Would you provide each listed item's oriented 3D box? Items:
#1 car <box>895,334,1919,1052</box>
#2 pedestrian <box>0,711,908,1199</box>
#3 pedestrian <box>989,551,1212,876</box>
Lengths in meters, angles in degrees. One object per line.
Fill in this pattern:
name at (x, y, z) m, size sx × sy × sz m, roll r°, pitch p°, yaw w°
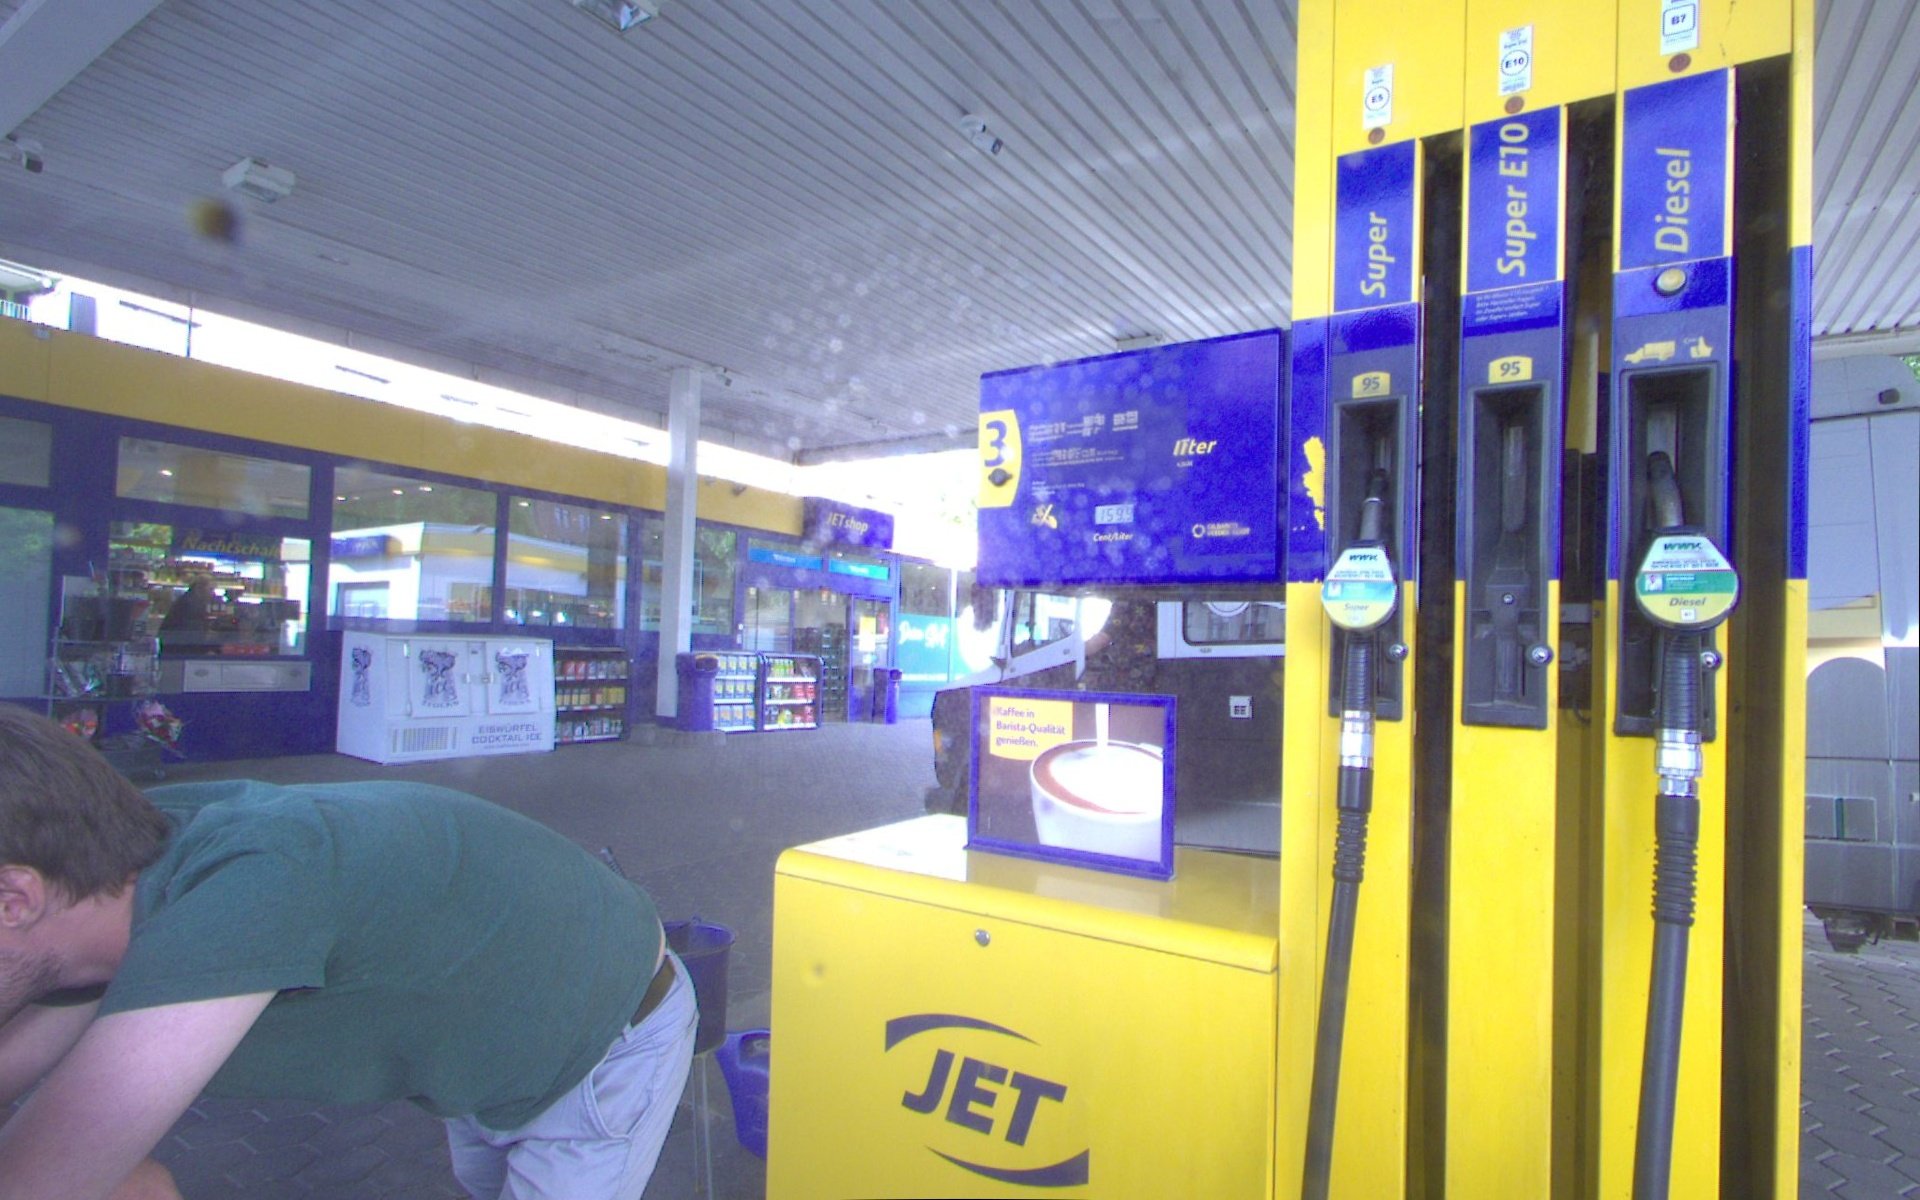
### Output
car at (2.387, 0.412, 6.022) m, size 5.219 × 2.724 × 2.250 m, roll 0°, pitch -3°, yaw 34°
pedestrian at (-0.537, 0.807, 1.077) m, size 0.664 × 1.298 × 0.749 m, roll -1°, pitch -1°, yaw 31°
pedestrian at (0.854, 0.646, 6.187) m, size 0.968 × 1.785 × 0.973 m, roll 1°, pitch -2°, yaw -37°
